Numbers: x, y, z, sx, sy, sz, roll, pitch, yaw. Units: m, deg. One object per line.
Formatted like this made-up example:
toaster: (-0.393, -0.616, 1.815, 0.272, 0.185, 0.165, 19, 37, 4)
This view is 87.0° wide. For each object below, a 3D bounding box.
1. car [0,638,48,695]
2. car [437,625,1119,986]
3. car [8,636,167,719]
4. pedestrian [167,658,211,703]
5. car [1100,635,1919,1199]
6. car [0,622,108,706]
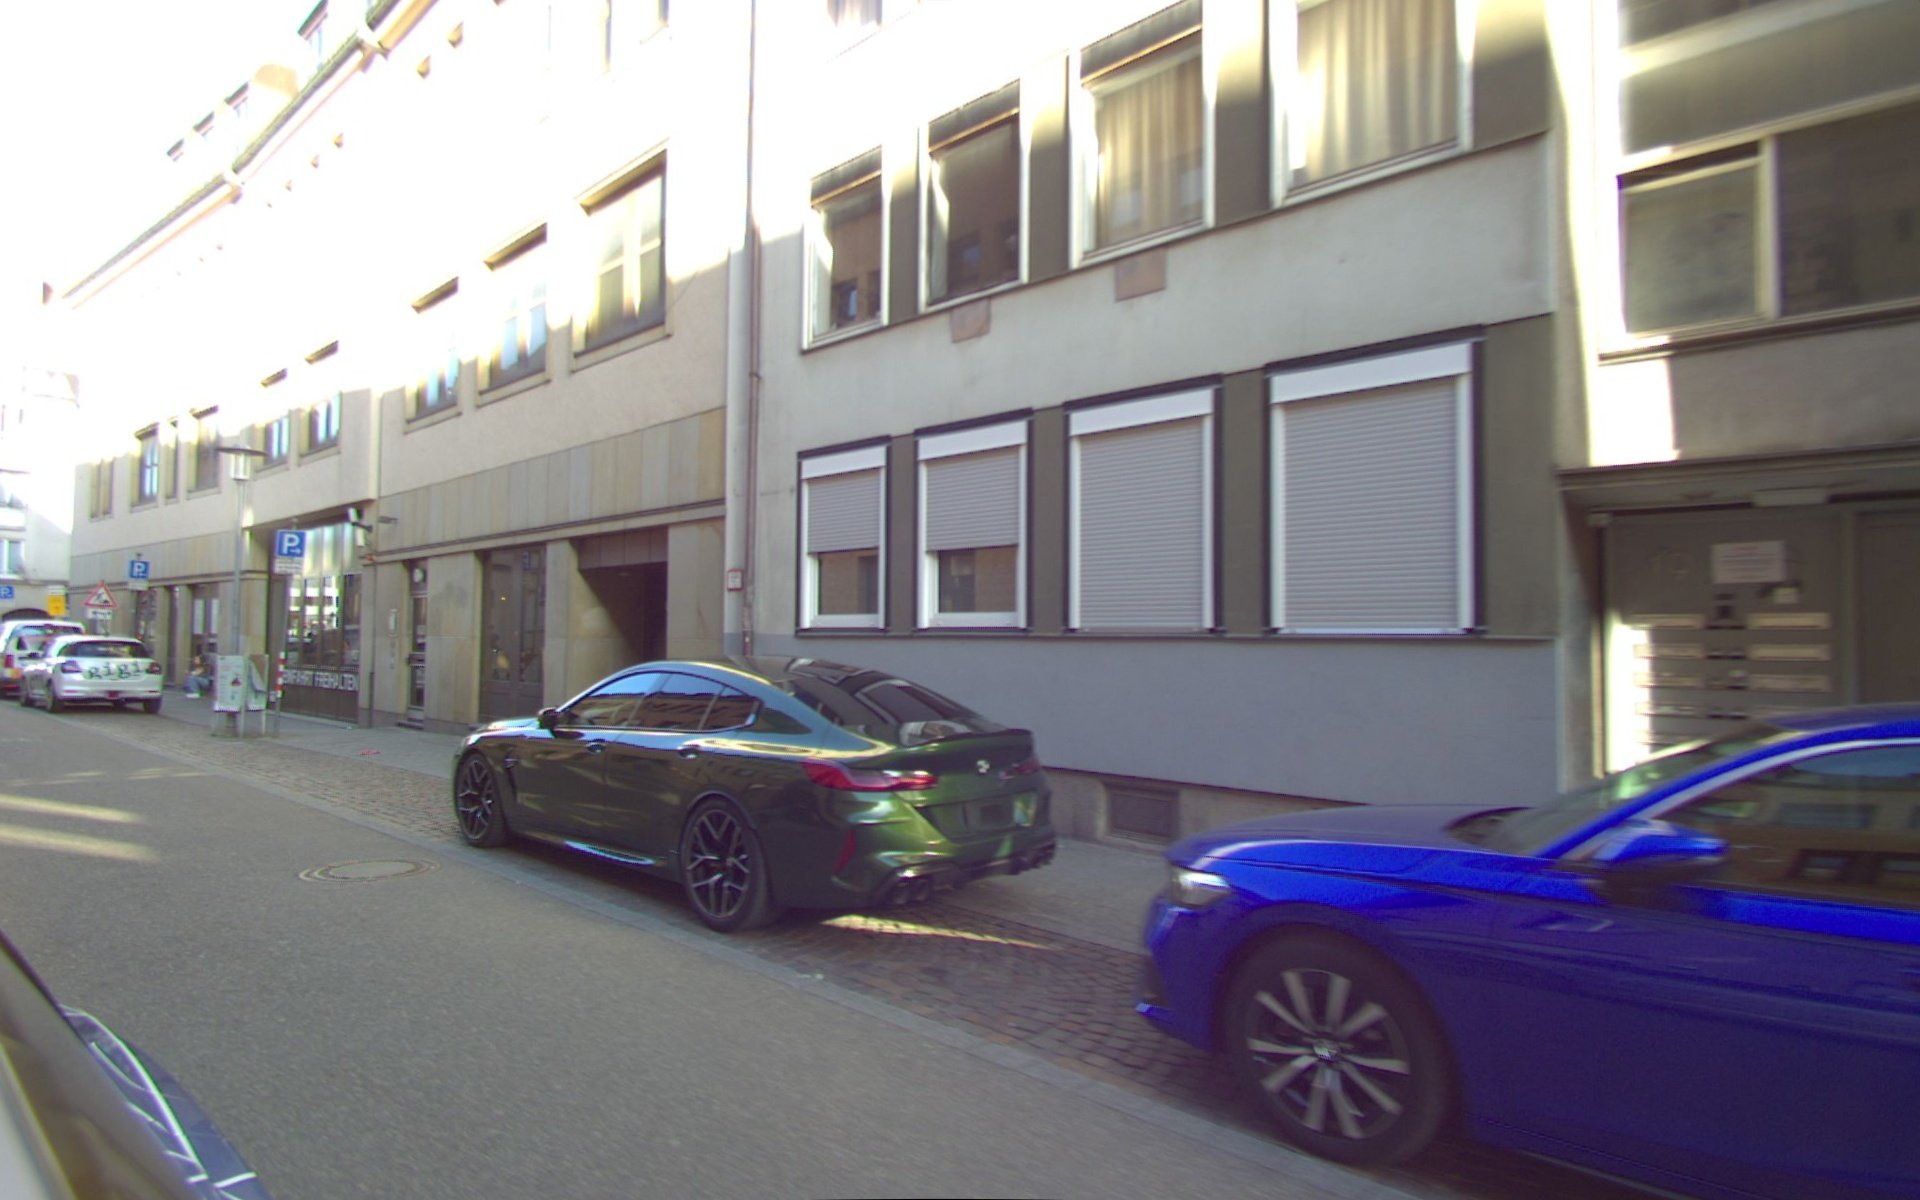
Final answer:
car: (-27.060, 1.804, 28.074, 3.790, 1.504, 1.722, -1, -5, 35)
car: (-1.481, 1.008, 6.672, 4.728, 1.541, 1.870, -1, -6, 42)
car: (-17.727, 1.548, 20.525, 3.770, 1.534, 1.653, -2, -6, 38)
pedestrian: (-18.394, 1.909, 24.156, 0.616, 1.043, 0.649, -2, -3, 35)
car: (2.705, 0.885, 2.704, 4.339, 1.542, 1.869, -2, -4, 42)
car: (-22.521, 1.532, 24.536, 4.727, 1.872, 1.881, -2, -5, 39)
